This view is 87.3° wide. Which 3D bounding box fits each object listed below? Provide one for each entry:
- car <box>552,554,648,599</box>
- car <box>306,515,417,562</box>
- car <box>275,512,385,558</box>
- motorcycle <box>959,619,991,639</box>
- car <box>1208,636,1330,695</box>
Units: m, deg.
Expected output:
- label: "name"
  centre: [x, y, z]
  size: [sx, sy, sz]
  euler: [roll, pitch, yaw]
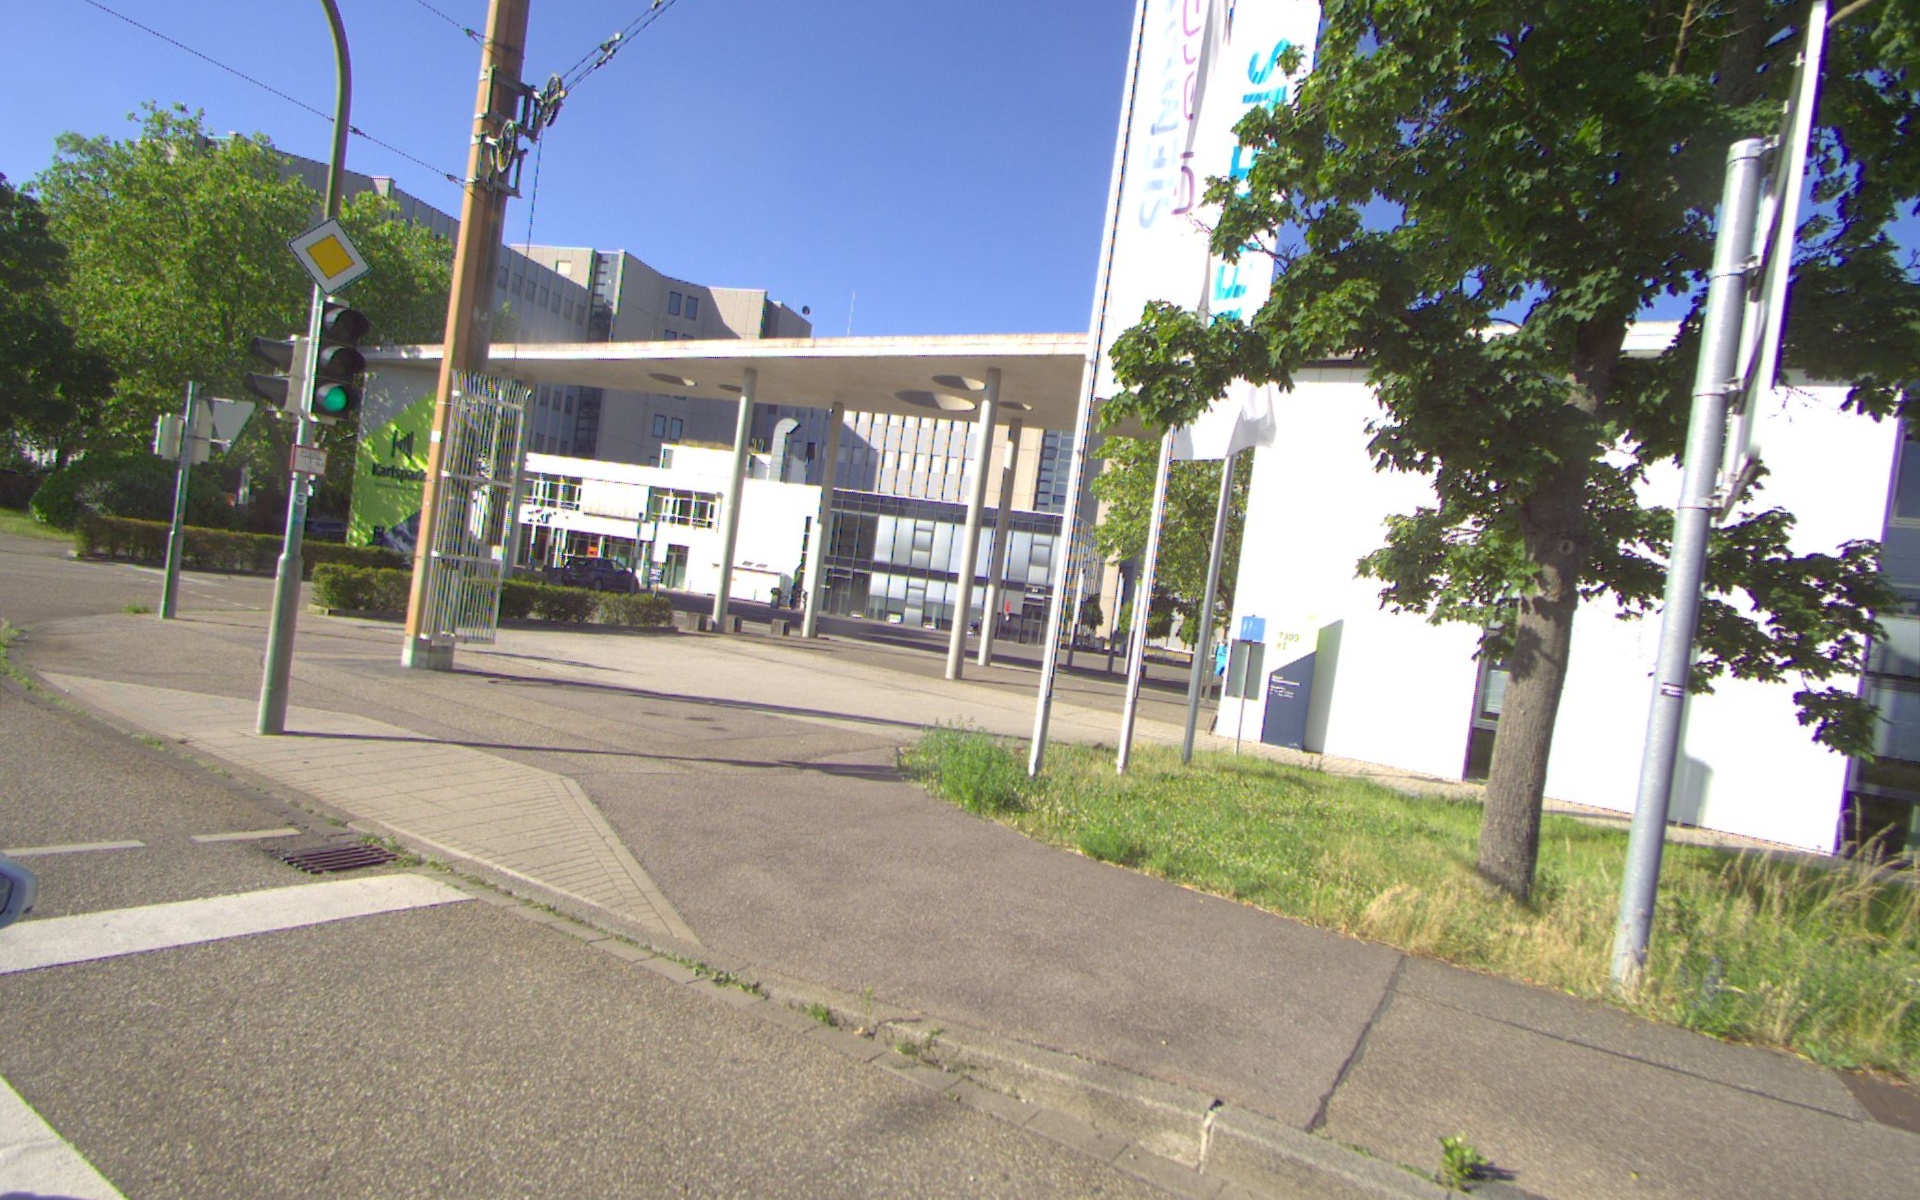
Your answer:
- label: "car"
  centre: [-16.767, -1.074, 47.058]
  size: [1.918, 1.597, 3.999]
  euler: [7, -1, 22]
- label: "car"
  centre: [-30.514, -3.113, 51.417]
  size: [1.861, 1.707, 4.467]
  euler: [7, 0, 26]
- label: "car"
  centre: [-32.788, -3.350, 52.512]
  size: [1.861, 1.707, 4.467]
  euler: [7, 0, 26]
- label: "motorcycle"
  centre: [0.922, 1.770, 61.532]
  size: [1.701, 0.959, 0.653]
  euler: [7, 1, 17]
- label: "car"
  centre: [12.930, 2.717, 42.354]
  size: [4.635, 1.819, 1.779]
  euler: [7, 1, 15]
